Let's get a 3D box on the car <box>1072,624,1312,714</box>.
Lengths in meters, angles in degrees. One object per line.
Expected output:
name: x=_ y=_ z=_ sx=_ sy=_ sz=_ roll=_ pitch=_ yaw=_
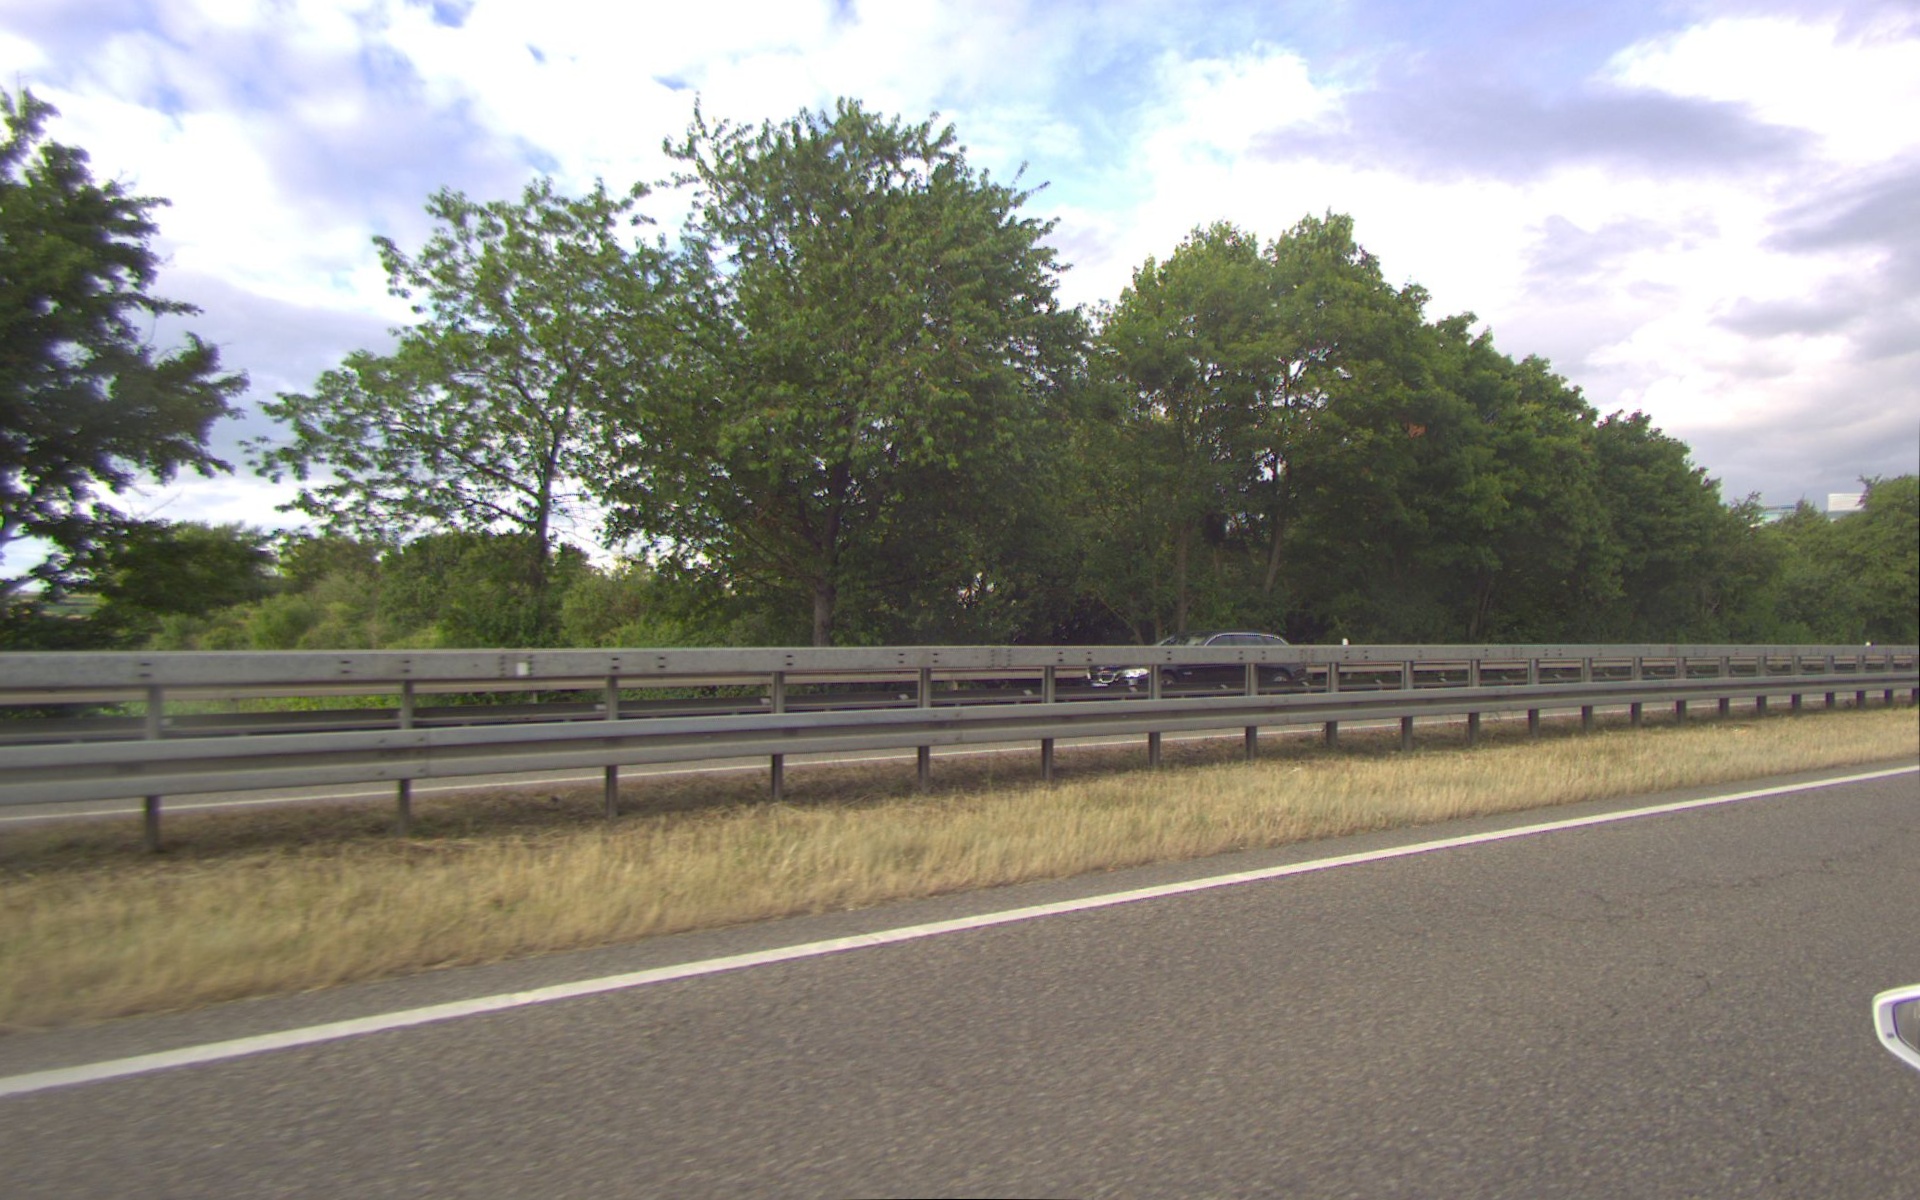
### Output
car: x=4.512 y=1.276 z=19.383 sx=4.533 sy=1.564 sz=1.816 roll=1 pitch=-2 yaw=-30
